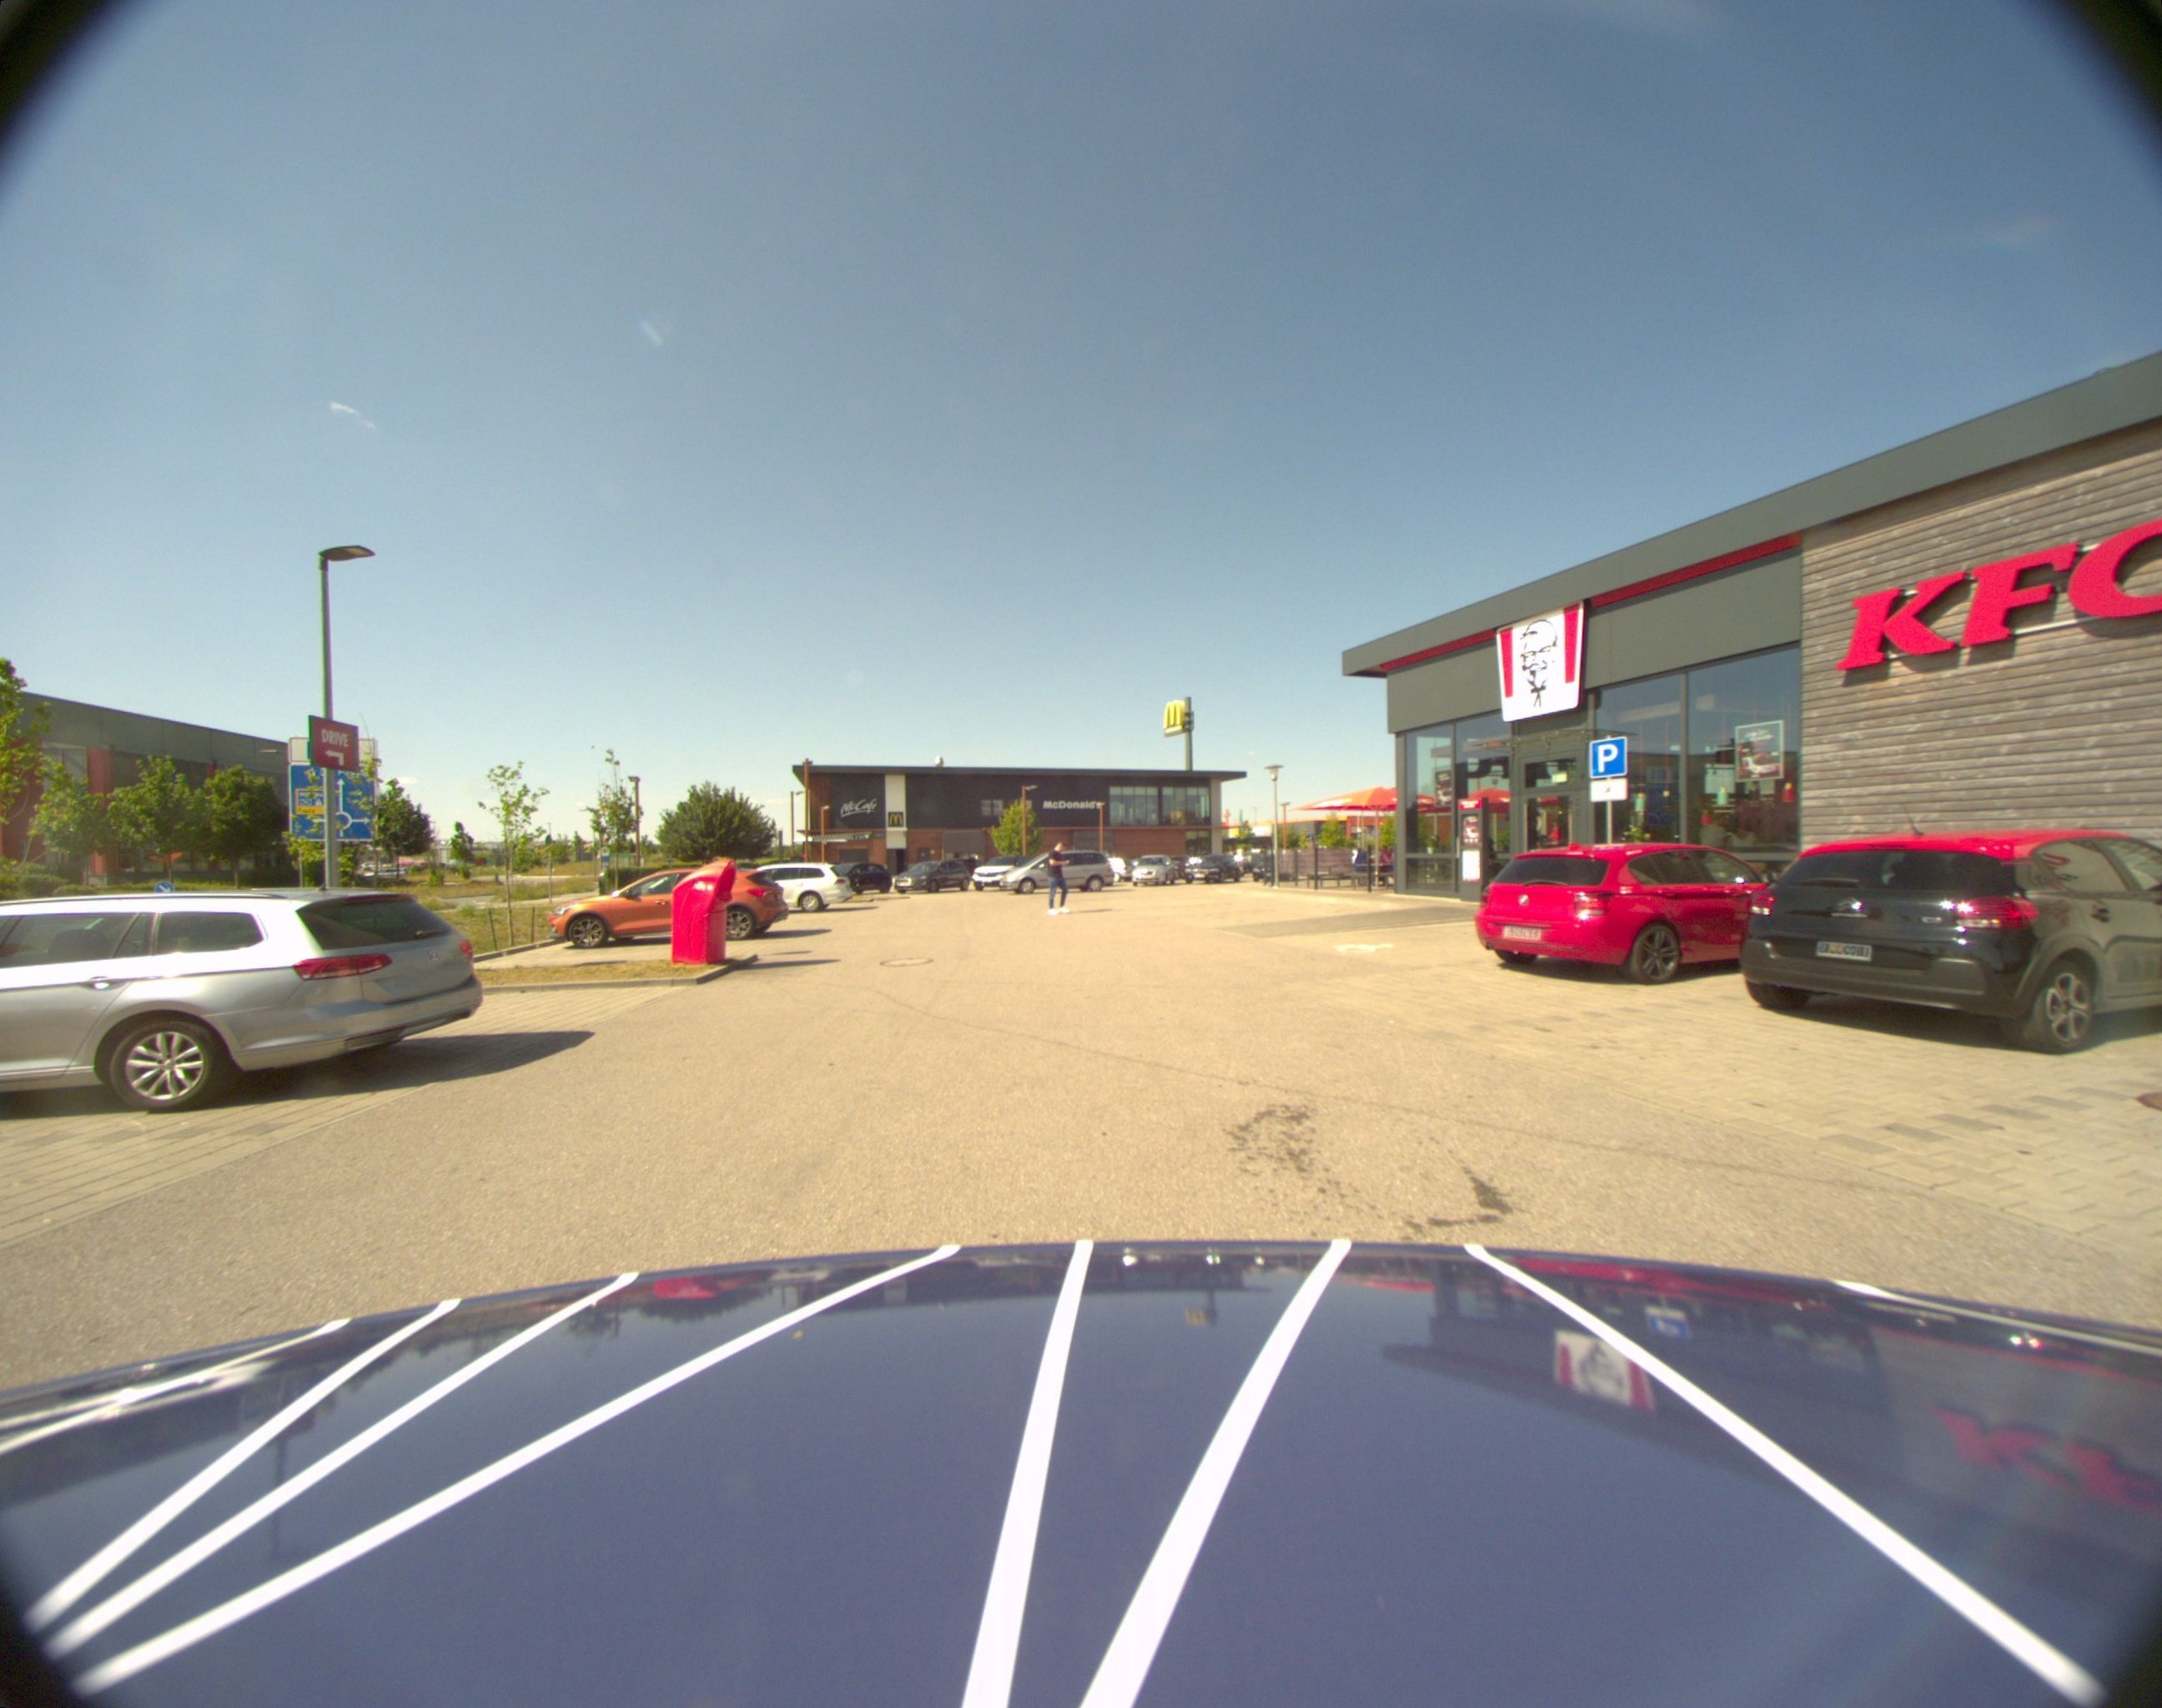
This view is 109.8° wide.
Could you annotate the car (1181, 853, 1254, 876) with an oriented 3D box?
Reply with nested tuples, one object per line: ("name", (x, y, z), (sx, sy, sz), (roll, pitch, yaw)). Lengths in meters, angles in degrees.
("car", (9.495, 0.719, 52.950), (4.632, 1.478, 1.899), (-1, 0, 29))

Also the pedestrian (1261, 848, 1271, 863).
("pedestrian", (18.791, 0.145, 77.258), (0.702, 1.550, 0.721), (-1, 1, -16))

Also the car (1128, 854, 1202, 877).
("car", (5.748, 0.795, 52.048), (4.632, 1.478, 1.899), (-1, 0, 29))

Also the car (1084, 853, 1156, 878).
("car", (2.438, 0.736, 47.980), (4.104, 1.506, 1.816), (-1, 0, 29))

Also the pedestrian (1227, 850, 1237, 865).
("pedestrian", (15.842, 0.365, 79.555), (0.700, 1.550, 0.723), (-1, 0, 45))

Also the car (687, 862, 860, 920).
("car", (-9.153, 1.068, 22.988), (4.482, 1.461, 1.831), (-2, 1, -10))

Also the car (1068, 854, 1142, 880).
("car", (1.424, 0.798, 45.890), (4.104, 1.484, 1.715), (-1, 0, 29))

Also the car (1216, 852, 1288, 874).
("car", (12.218, 0.670, 54.433), (4.632, 1.478, 1.899), (-1, 0, 29))

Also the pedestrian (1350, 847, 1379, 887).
("pedestrian", (9.312, 0.428, 24.966), (0.625, 1.266, 0.612), (-1, 0, -33))

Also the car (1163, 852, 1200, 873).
("car", (8.260, 0.668, 62.306), (1.713, 1.603, 4.044), (-1, 0, 27))

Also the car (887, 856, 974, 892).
("car", (-6.772, 0.883, 34.671), (1.971, 1.517, 4.213), (-1, 0, 21))

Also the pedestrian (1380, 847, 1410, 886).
("pedestrian", (10.219, 0.405, 24.750), (0.552, 1.266, 0.684), (-1, 0, -33))

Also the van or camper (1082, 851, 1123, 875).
("van or camper", (1.739, 0.688, 60.451), (1.707, 1.764, 4.036), (-1, 0, 26))

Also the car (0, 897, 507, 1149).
("car", (-7.297, 1.166, 5.578), (4.601, 1.405, 1.739), (-2, 0, -7))

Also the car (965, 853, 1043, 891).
("car", (-3.539, 0.813, 35.771), (1.971, 1.645, 4.213), (-1, 0, 20))

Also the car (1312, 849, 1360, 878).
("car", (13.821, 0.482, 41.031), (1.832, 1.451, 4.593), (-1, 0, 26))

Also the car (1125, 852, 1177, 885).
("car", (3.524, 0.693, 37.649), (1.972, 1.517, 4.211), (-1, 0, 13))

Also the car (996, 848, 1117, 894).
("car", (-1.019, 0.669, 31.582), (4.686, 1.738, 1.830), (-1, 0, -17))

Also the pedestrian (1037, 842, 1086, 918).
("pedestrian", (-0.491, 0.617, 18.697), (0.995, 1.798, 0.725), (-2, 1, -15))

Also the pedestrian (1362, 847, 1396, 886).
("pedestrian", (9.953, 0.409, 25.407), (0.843, 1.266, 0.684), (-1, 0, -33))

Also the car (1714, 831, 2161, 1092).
("car", (7.325, 0.624, 5.973), (3.911, 1.497, 1.738), (-2, 0, -17))

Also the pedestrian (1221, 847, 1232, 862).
("pedestrian", (14.722, 0.068, 76.912), (0.700, 1.550, 0.723), (-1, 0, 45))

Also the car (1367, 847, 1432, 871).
("car", (21.708, 0.360, 51.818), (3.990, 1.543, 1.758), (-1, 0, 26))

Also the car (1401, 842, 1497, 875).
("car", (18.782, 0.247, 38.818), (4.292, 1.581, 1.861), (-1, 0, 30))

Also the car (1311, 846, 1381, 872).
("car", (17.773, 0.337, 50.996), (4.104, 1.664, 1.816), (-1, 0, 29))

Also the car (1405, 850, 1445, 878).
("car", (19.576, 0.546, 43.163), (1.970, 1.451, 4.214), (-1, 0, 26))

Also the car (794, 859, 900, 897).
("car", (-10.207, 1.016, 33.480), (1.970, 1.517, 4.341), (-1, 0, 28))

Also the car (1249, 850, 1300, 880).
("car", (10.114, 0.551, 39.565), (1.832, 1.451, 4.378), (-1, 0, 24))

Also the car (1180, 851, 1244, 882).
("car", (6.764, 0.609, 38.839), (1.970, 1.478, 4.792), (-1, 0, 26))

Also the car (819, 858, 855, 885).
("car", (-16.095, 1.116, 50.054), (1.999, 1.681, 4.228), (-1, 0, -21))

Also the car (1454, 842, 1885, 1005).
("car", (6.683, 0.644, 8.663), (4.405, 1.405, 1.738), (-2, 0, -19))

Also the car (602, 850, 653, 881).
("car", (-34.018, 0.853, 57.159), (2.001, 2.184, 5.100), (-1, 0, -15))

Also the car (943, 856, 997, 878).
("car", (-8.390, 0.959, 57.765), (1.958, 1.593, 4.475), (-1, 0, 23))

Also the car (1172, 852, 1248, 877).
("car", (8.050, 0.671, 47.527), (4.269, 1.478, 1.816), (-1, 0, 29))

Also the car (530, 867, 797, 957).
("car", (-8.293, 1.115, 15.514), (4.353, 1.461, 1.831), (-2, 1, -10))
